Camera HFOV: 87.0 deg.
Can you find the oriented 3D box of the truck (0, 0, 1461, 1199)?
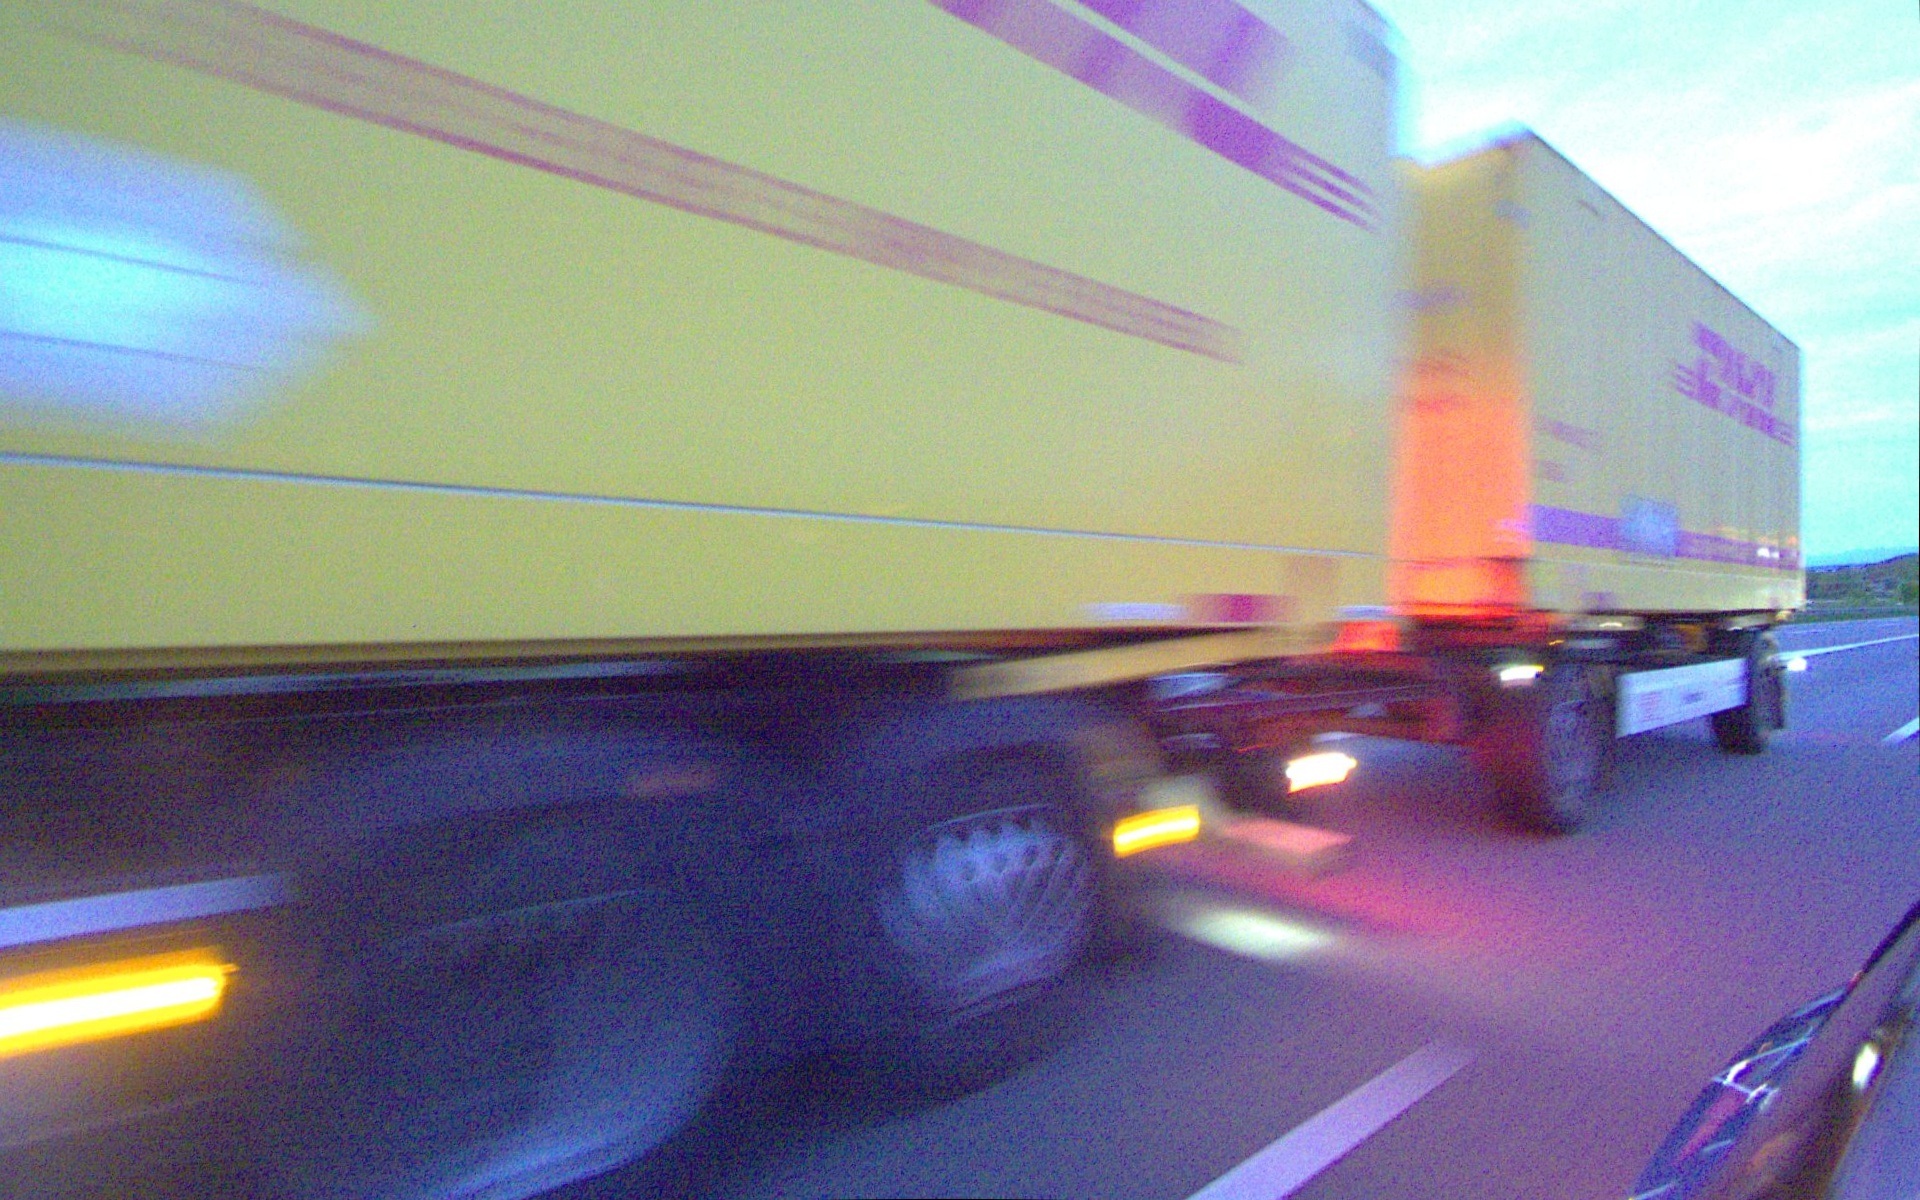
[{"bbox_3d":[-2.480,-0.651,2.227,10.336,4.123,2.695,0,0,-41],"label":"truck"}]

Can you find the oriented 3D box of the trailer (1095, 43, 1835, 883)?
[{"bbox_3d":[5.090,-0.702,8.864,8.676,4.123,2.726,0,0,-41],"label":"trailer"}]
